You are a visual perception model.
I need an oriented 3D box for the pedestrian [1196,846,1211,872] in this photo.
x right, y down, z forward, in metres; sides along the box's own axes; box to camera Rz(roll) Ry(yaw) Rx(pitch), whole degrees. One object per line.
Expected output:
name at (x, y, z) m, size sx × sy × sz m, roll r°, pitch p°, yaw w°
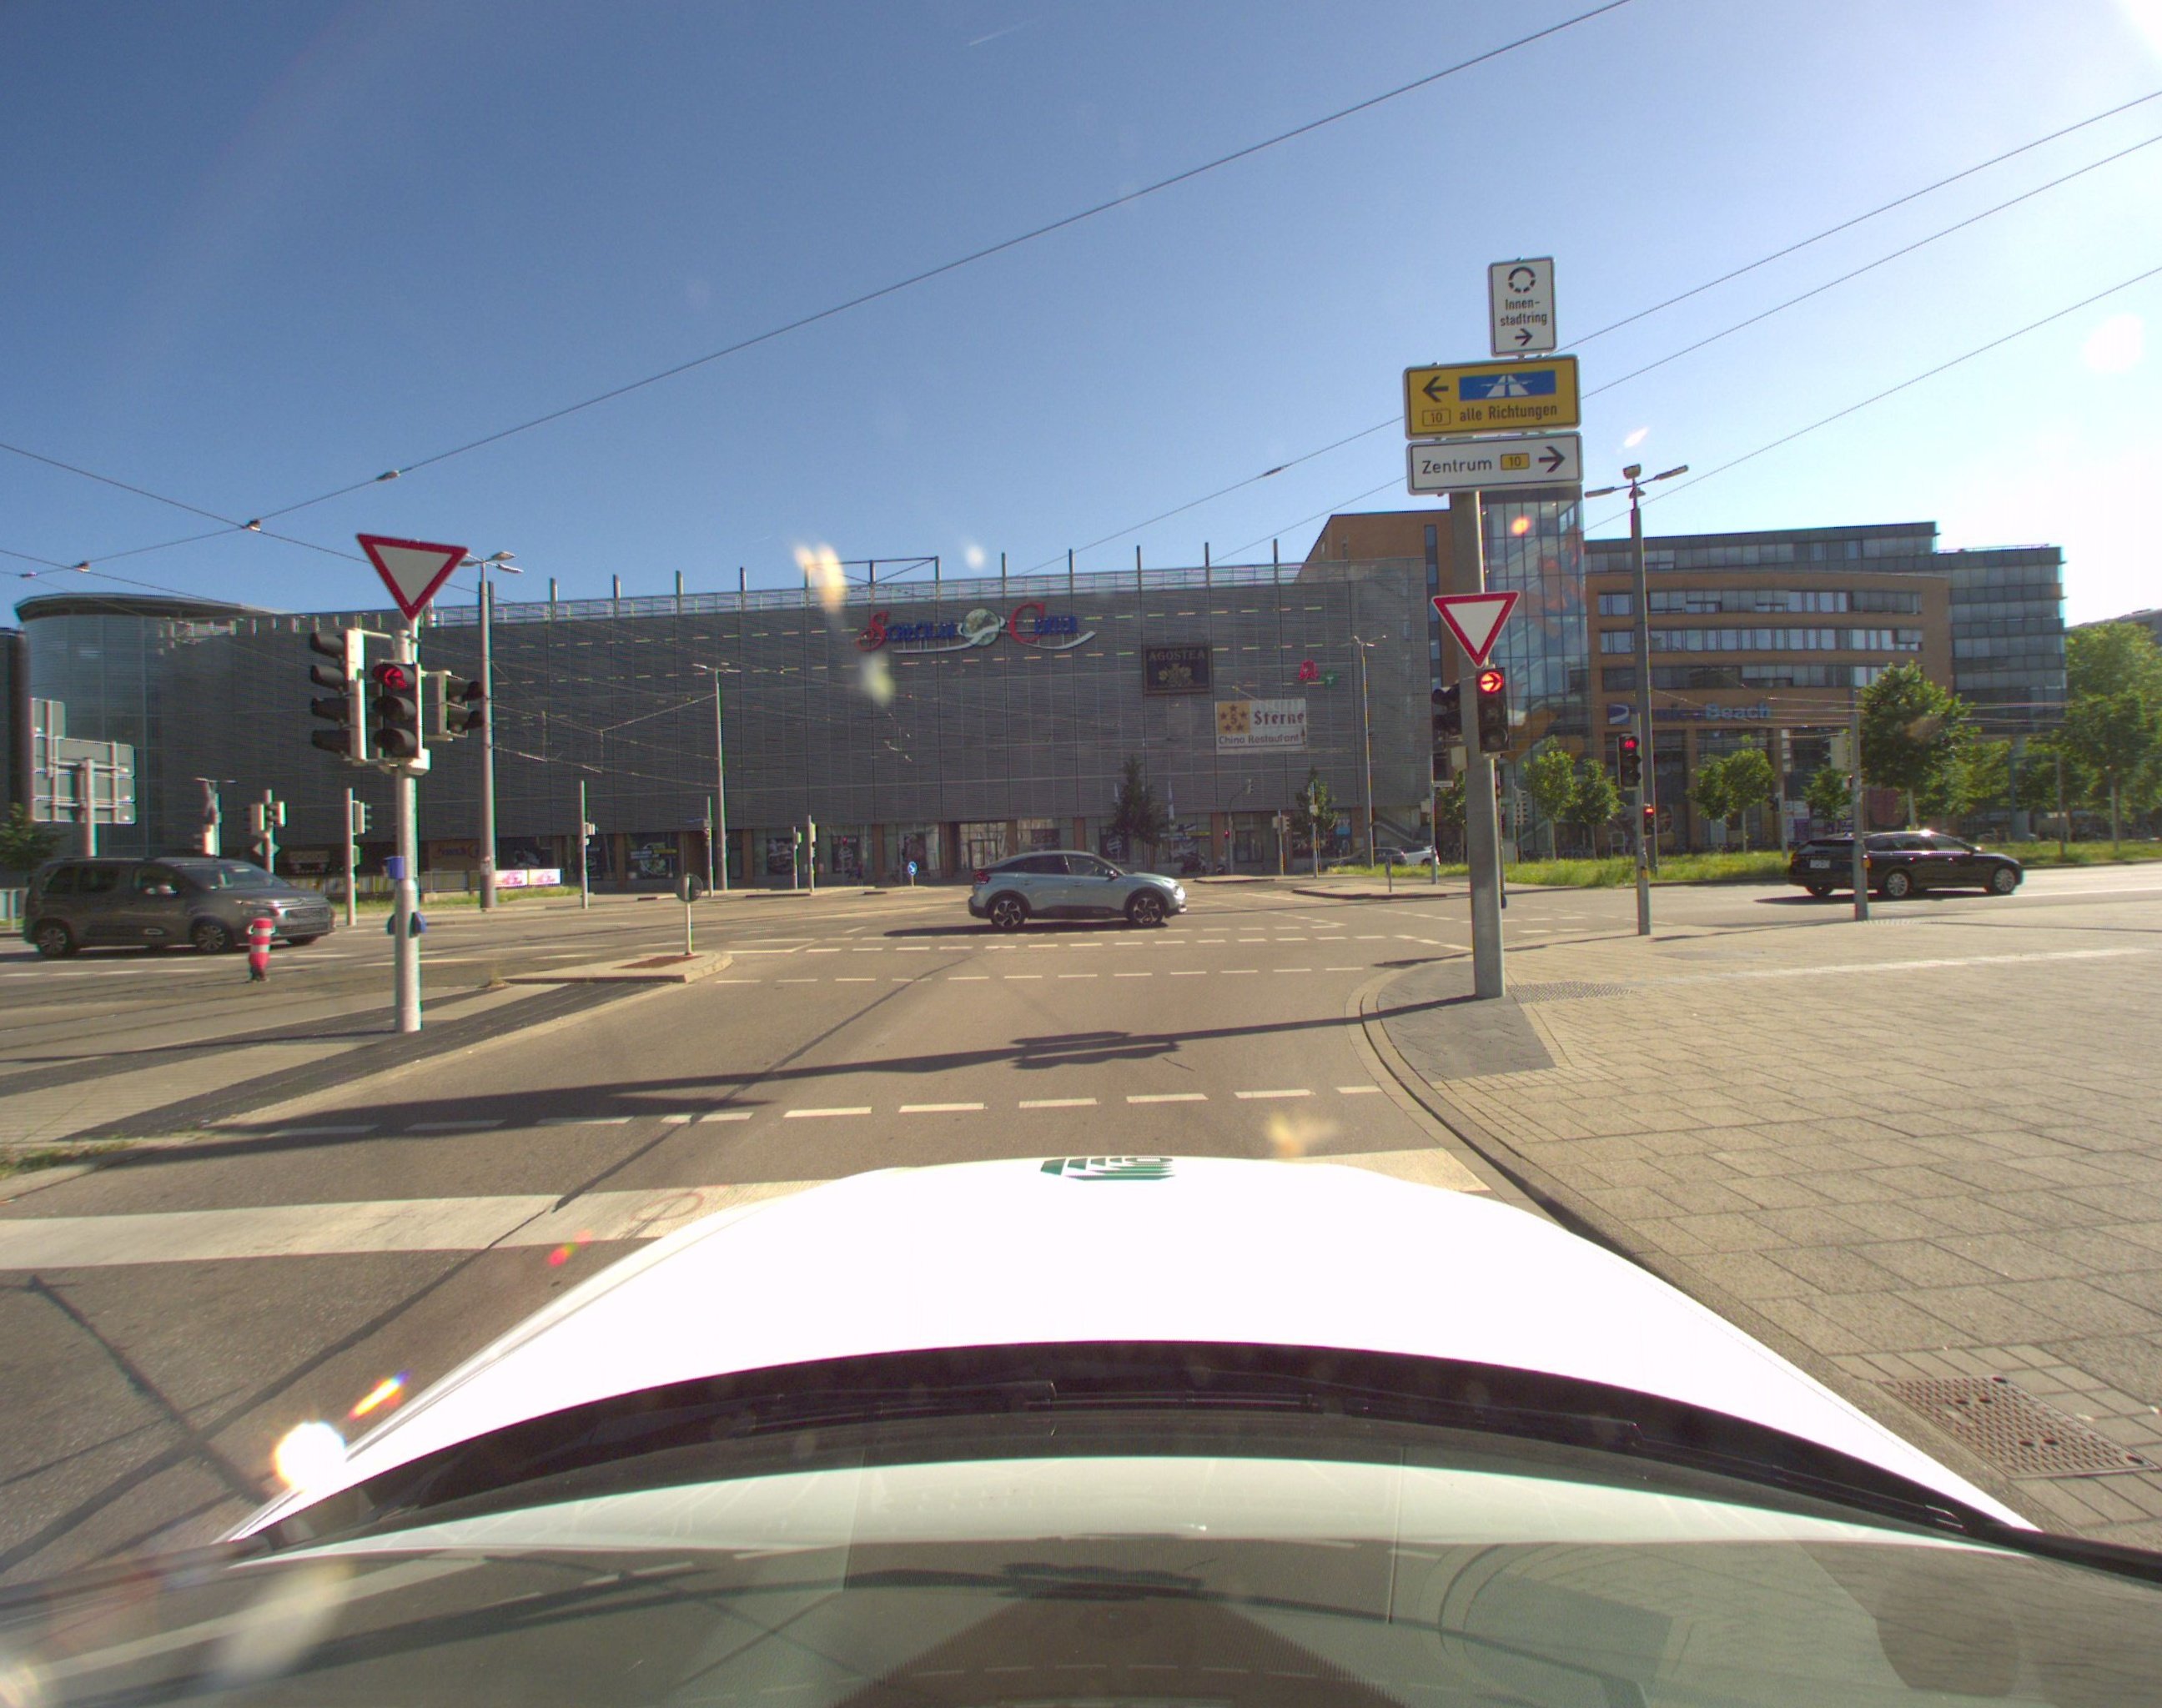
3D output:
pedestrian at (8.952, 0.358, 59.514) m, size 0.945 × 1.829 × 0.847 m, roll -3°, pitch -4°, yaw 7°

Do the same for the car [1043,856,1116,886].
car at (-0.070, 1.018, 49.080) m, size 4.274 × 1.584 × 1.841 m, roll 2°, pitch -1°, yaw 1°

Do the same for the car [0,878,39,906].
car at (-69.720, 2.351, 51.860) m, size 4.274 × 1.645 × 1.841 m, roll 2°, pitch -1°, yaw 1°

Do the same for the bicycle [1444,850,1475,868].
bicycle at (26.573, 0.345, 57.175) m, size 1.850 × 1.217 × 0.569 m, roll -2°, pitch 1°, yaw 1°

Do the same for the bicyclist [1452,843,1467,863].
bicyclist at (26.589, -0.090, 57.179) m, size 0.750 × 1.386 × 0.566 m, roll -2°, pitch 1°, yaw 1°

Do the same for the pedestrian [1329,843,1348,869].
pedestrian at (18.437, 0.134, 58.289) m, size 1.007 × 1.828 × 1.037 m, roll -3°, pitch 0°, yaw 5°

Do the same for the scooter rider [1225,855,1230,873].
scooter rider at (9.904, 0.701, 54.951) m, size 0.286 × 1.200 × 0.387 m, roll -1°, pitch -1°, yaw 12°

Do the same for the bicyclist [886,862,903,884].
bicyclist at (-12.632, 1.271, 55.240) m, size 0.667 × 1.427 × 0.855 m, roll -1°, pitch 2°, yaw 45°

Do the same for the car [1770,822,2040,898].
car at (18.548, 0.114, 18.432) m, size 4.664 × 1.462 × 1.829 m, roll -2°, pitch 0°, yaw -7°

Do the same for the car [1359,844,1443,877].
car at (19.192, 0.398, 48.875) m, size 4.322 × 1.863 × 1.836 m, roll -1°, pitch -1°, yaw -7°

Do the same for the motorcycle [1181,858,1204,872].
motorcycle at (8.309, 0.826, 60.598) m, size 1.630 × 1.004 × 0.448 m, roll 0°, pitch 0°, yaw 8°

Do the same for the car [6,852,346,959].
car at (-16.989, 0.928, 15.456) m, size 4.444 × 1.791 × 1.709 m, roll -2°, pitch 0°, yaw -1°

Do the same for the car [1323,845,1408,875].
car at (15.879, 0.345, 45.622) m, size 4.132 × 1.470 × 1.841 m, roll 2°, pitch -1°, yaw 0°

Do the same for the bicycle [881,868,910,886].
bicycle at (-12.589, 1.581, 55.312) m, size 0.562 × 1.086 × 1.874 m, roll -1°, pitch 2°, yaw 45°

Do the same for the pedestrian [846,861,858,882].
pedestrian at (-17.507, 1.363, 62.343) m, size 0.654 × 1.601 × 0.597 m, roll -1°, pitch -1°, yaw 20°

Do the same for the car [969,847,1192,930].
car at (-0.046, 0.657, 16.417) m, size 4.256 × 1.514 × 1.706 m, roll -1°, pitch 0°, yaw -5°

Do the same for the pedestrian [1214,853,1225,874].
pedestrian at (9.401, 0.627, 55.204) m, size 0.650 × 1.414 × 0.853 m, roll -1°, pitch -1°, yaw 12°

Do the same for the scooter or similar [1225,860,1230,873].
scooter or similar at (9.916, 0.865, 55.009) m, size 0.293 × 0.873 × 1.007 m, roll -1°, pitch -1°, yaw 12°

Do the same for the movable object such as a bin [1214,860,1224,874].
movable object such as a bin at (9.268, 0.877, 54.741) m, size 0.608 × 0.904 × 0.972 m, roll -1°, pitch -1°, yaw 12°

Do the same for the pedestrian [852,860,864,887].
pedestrian at (-15.206, 1.307, 55.464) m, size 0.695 × 1.797 × 0.727 m, roll -3°, pitch 0°, yaw -14°
